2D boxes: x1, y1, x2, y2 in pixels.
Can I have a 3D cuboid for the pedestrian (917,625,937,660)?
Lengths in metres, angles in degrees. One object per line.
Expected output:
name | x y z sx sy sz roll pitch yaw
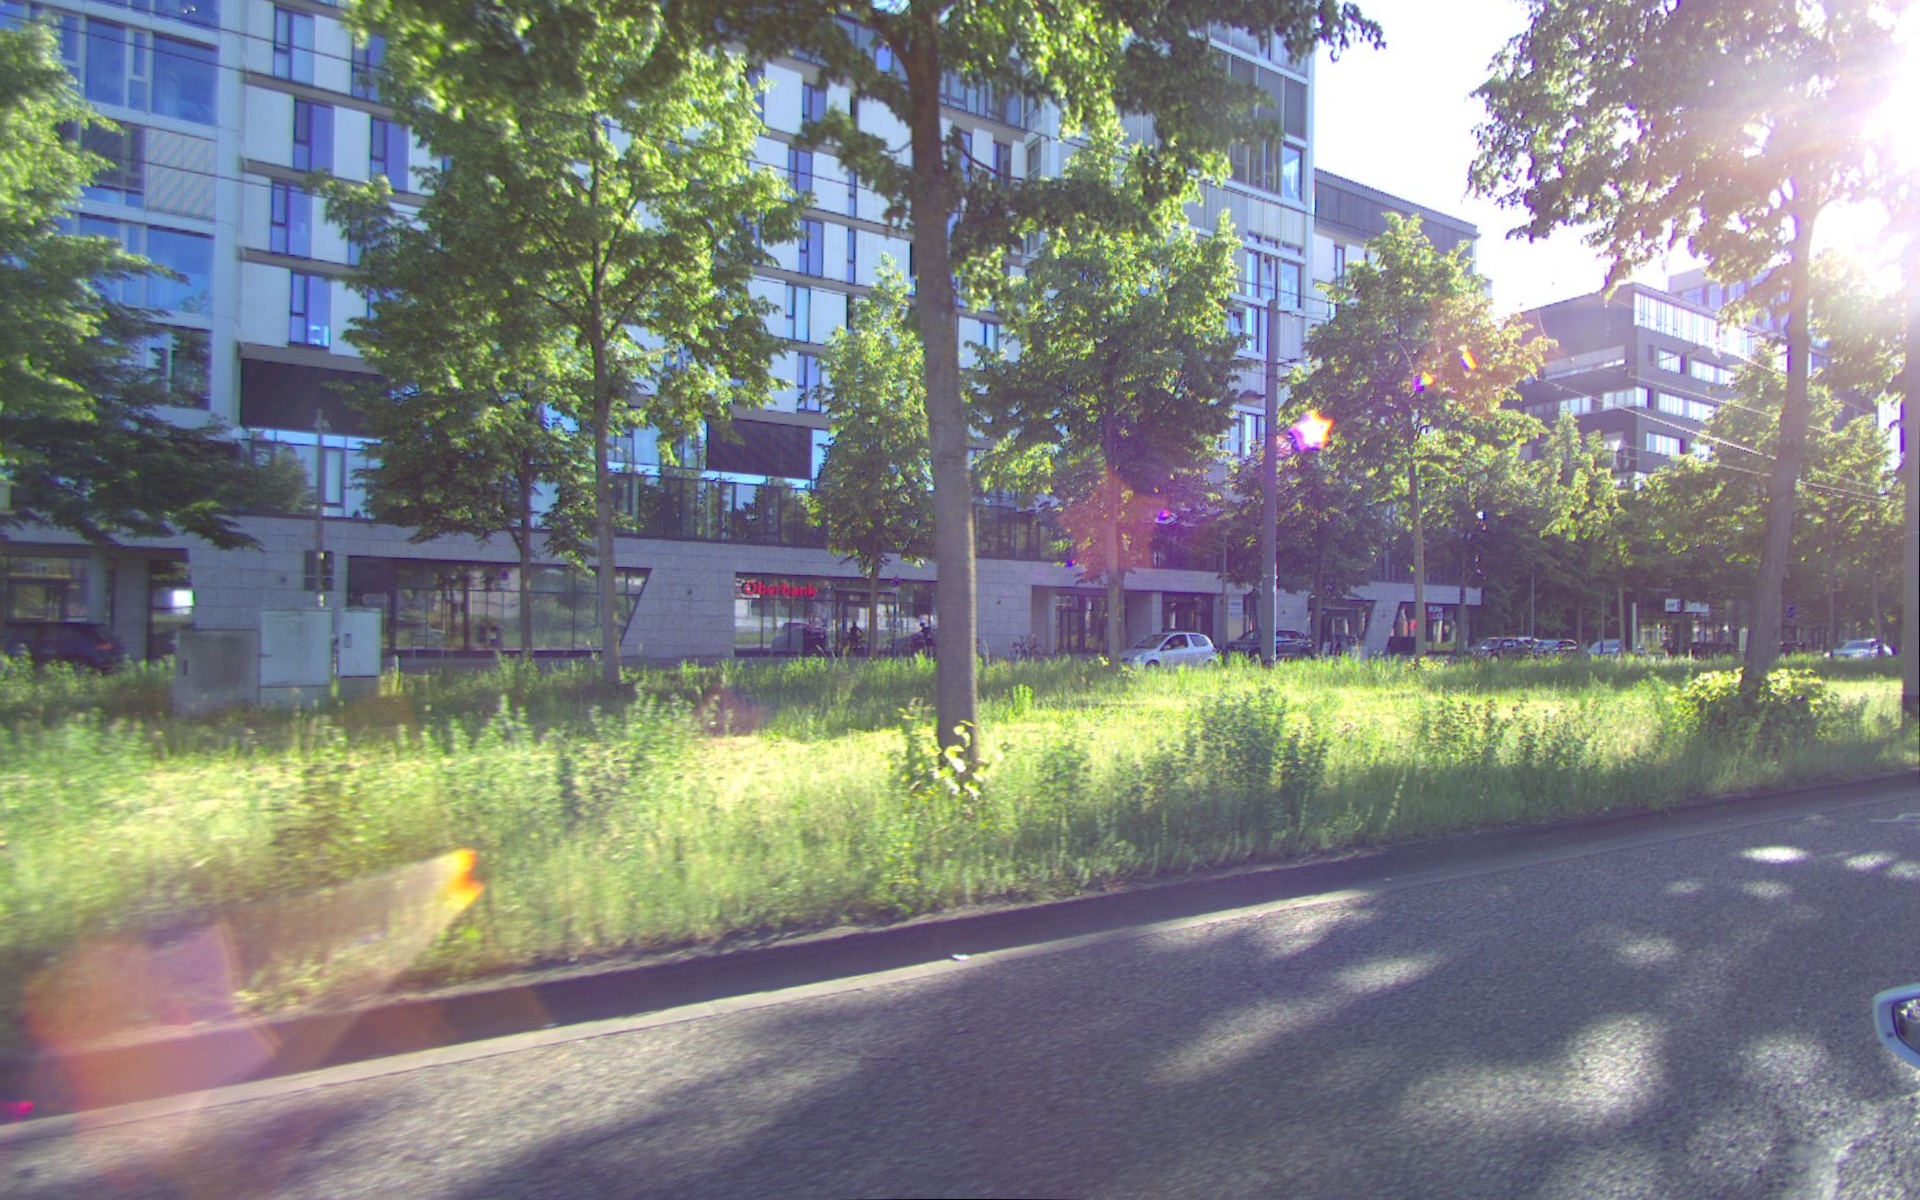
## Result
pedestrian | -1.395 1.795 42.071 0.682 1.431 0.406 3 -2 -30

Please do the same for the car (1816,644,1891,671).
car | 47.226 3.013 53.076 4.260 1.309 1.789 0 -2 -31

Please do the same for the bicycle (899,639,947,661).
bicycle | -1.560 2.136 42.535 1.991 0.892 0.539 3 -1 -30

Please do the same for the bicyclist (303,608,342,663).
bicyclist | -17.341 0.958 27.338 0.821 1.483 0.717 1 -1 -28

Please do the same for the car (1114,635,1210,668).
car | 8.066 2.029 40.043 3.541 1.223 1.660 2 -2 -30

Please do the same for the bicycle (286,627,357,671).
bicycle | -17.342 1.331 27.329 1.551 1.135 0.729 2 -1 -28

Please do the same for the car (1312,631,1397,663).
car | 17.952 2.129 45.684 3.710 1.372 1.725 2 -2 -30

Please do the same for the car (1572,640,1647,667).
car | 36.720 3.028 56.727 4.491 1.439 1.707 2 -1 -30

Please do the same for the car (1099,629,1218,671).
car | 6.360 1.599 32.145 3.442 1.254 1.762 2 -2 -29

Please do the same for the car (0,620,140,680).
car | -21.044 1.116 22.830 3.426 1.251 1.642 4 -2 -30

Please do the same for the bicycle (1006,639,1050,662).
bicycle | 3.076 2.283 45.383 1.960 0.985 0.539 4 -2 -30

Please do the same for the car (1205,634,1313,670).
car | 12.759 2.204 42.784 4.749 1.438 1.660 2 -2 -31

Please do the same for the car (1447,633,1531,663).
car | 27.220 2.457 51.637 4.491 1.439 1.707 2 -2 -30
